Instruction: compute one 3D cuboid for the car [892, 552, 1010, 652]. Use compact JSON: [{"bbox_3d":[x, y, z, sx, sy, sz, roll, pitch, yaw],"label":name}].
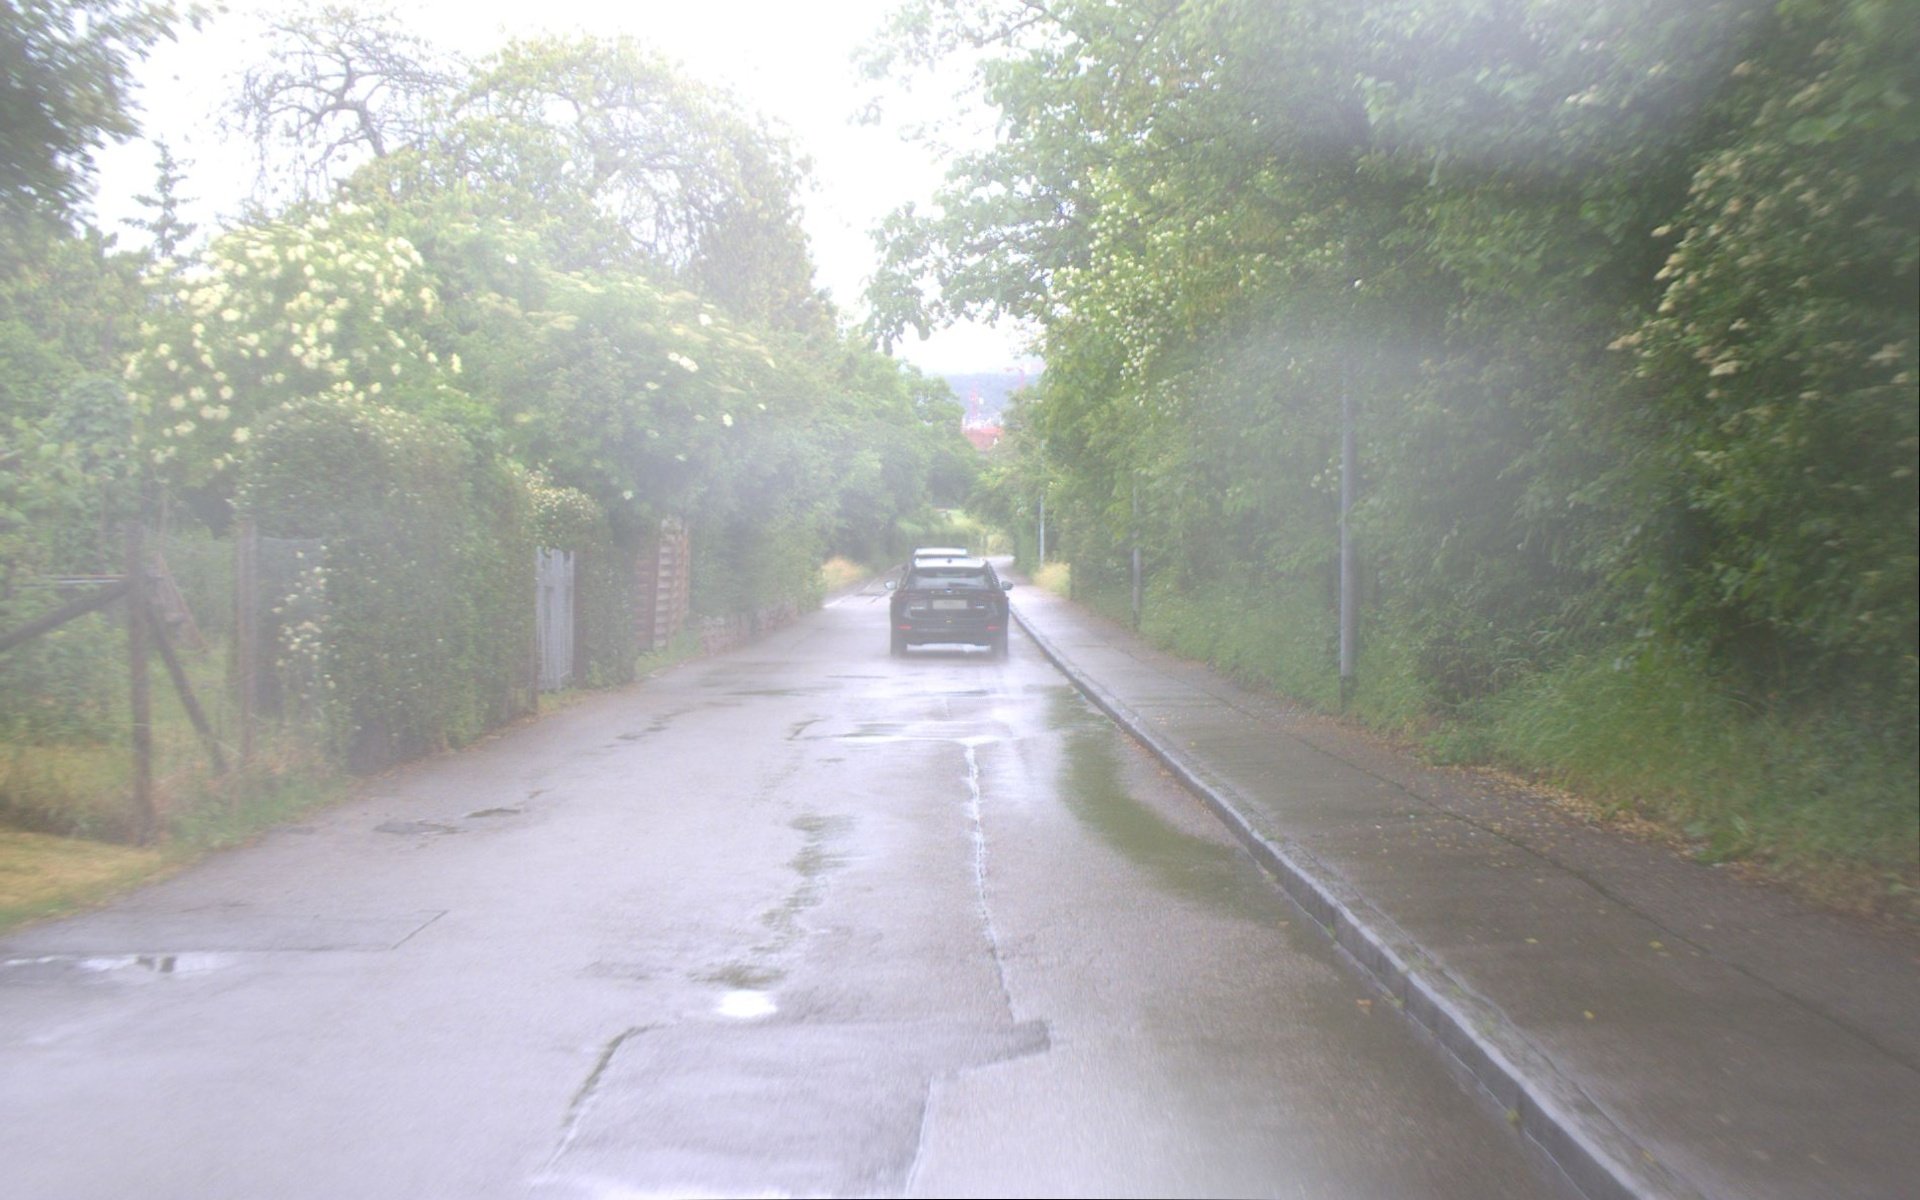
[{"bbox_3d":[-0.103,0.043,51.865,1.635,1.445,3.544,0,0,2],"label":"car"}]
